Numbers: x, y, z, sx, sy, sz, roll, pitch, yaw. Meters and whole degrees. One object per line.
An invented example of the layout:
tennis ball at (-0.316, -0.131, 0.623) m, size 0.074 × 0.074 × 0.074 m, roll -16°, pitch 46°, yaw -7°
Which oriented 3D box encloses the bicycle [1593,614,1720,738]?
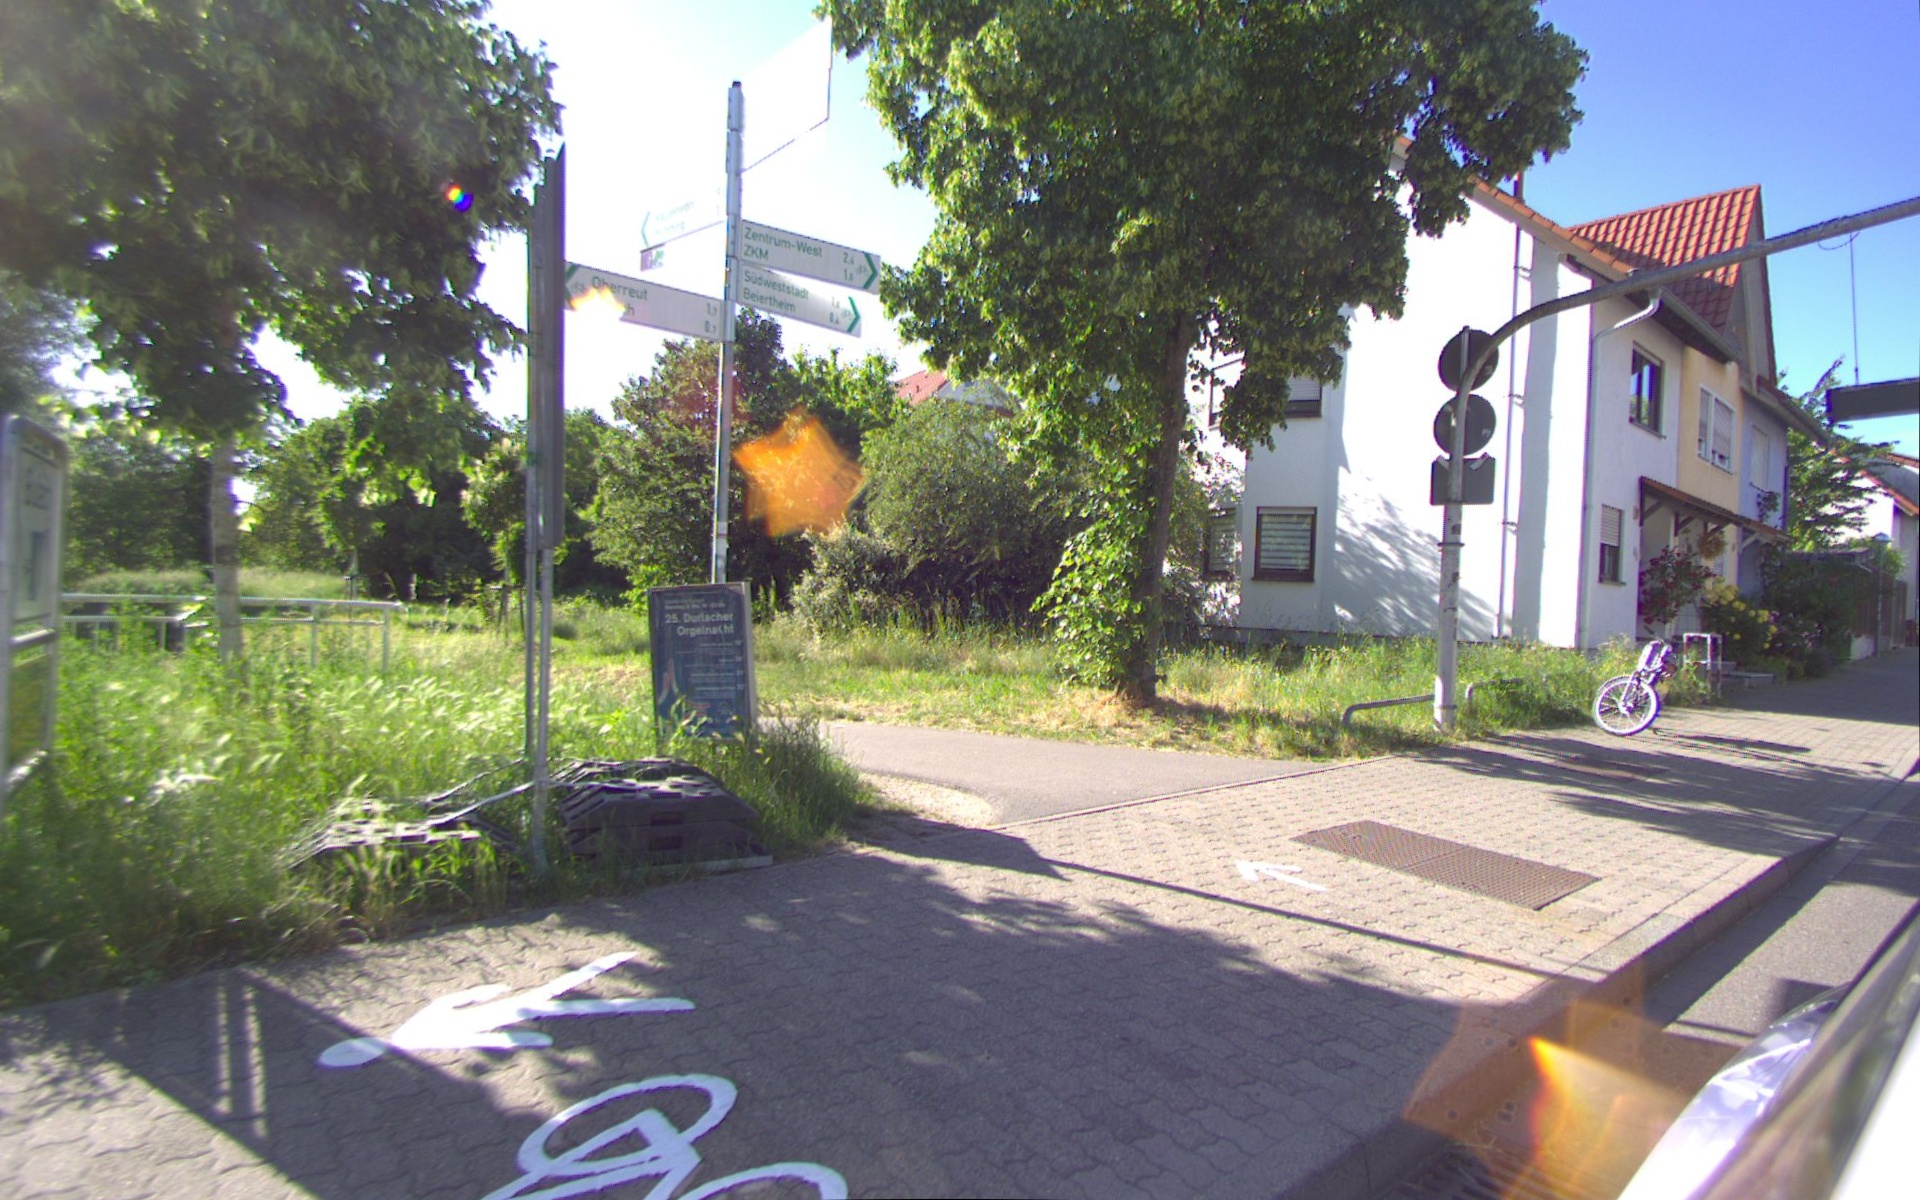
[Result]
bicycle at (7.536, 0.777, 10.929) m, size 1.513 × 1.171 × 0.690 m, roll 1°, pitch 5°, yaw -42°
